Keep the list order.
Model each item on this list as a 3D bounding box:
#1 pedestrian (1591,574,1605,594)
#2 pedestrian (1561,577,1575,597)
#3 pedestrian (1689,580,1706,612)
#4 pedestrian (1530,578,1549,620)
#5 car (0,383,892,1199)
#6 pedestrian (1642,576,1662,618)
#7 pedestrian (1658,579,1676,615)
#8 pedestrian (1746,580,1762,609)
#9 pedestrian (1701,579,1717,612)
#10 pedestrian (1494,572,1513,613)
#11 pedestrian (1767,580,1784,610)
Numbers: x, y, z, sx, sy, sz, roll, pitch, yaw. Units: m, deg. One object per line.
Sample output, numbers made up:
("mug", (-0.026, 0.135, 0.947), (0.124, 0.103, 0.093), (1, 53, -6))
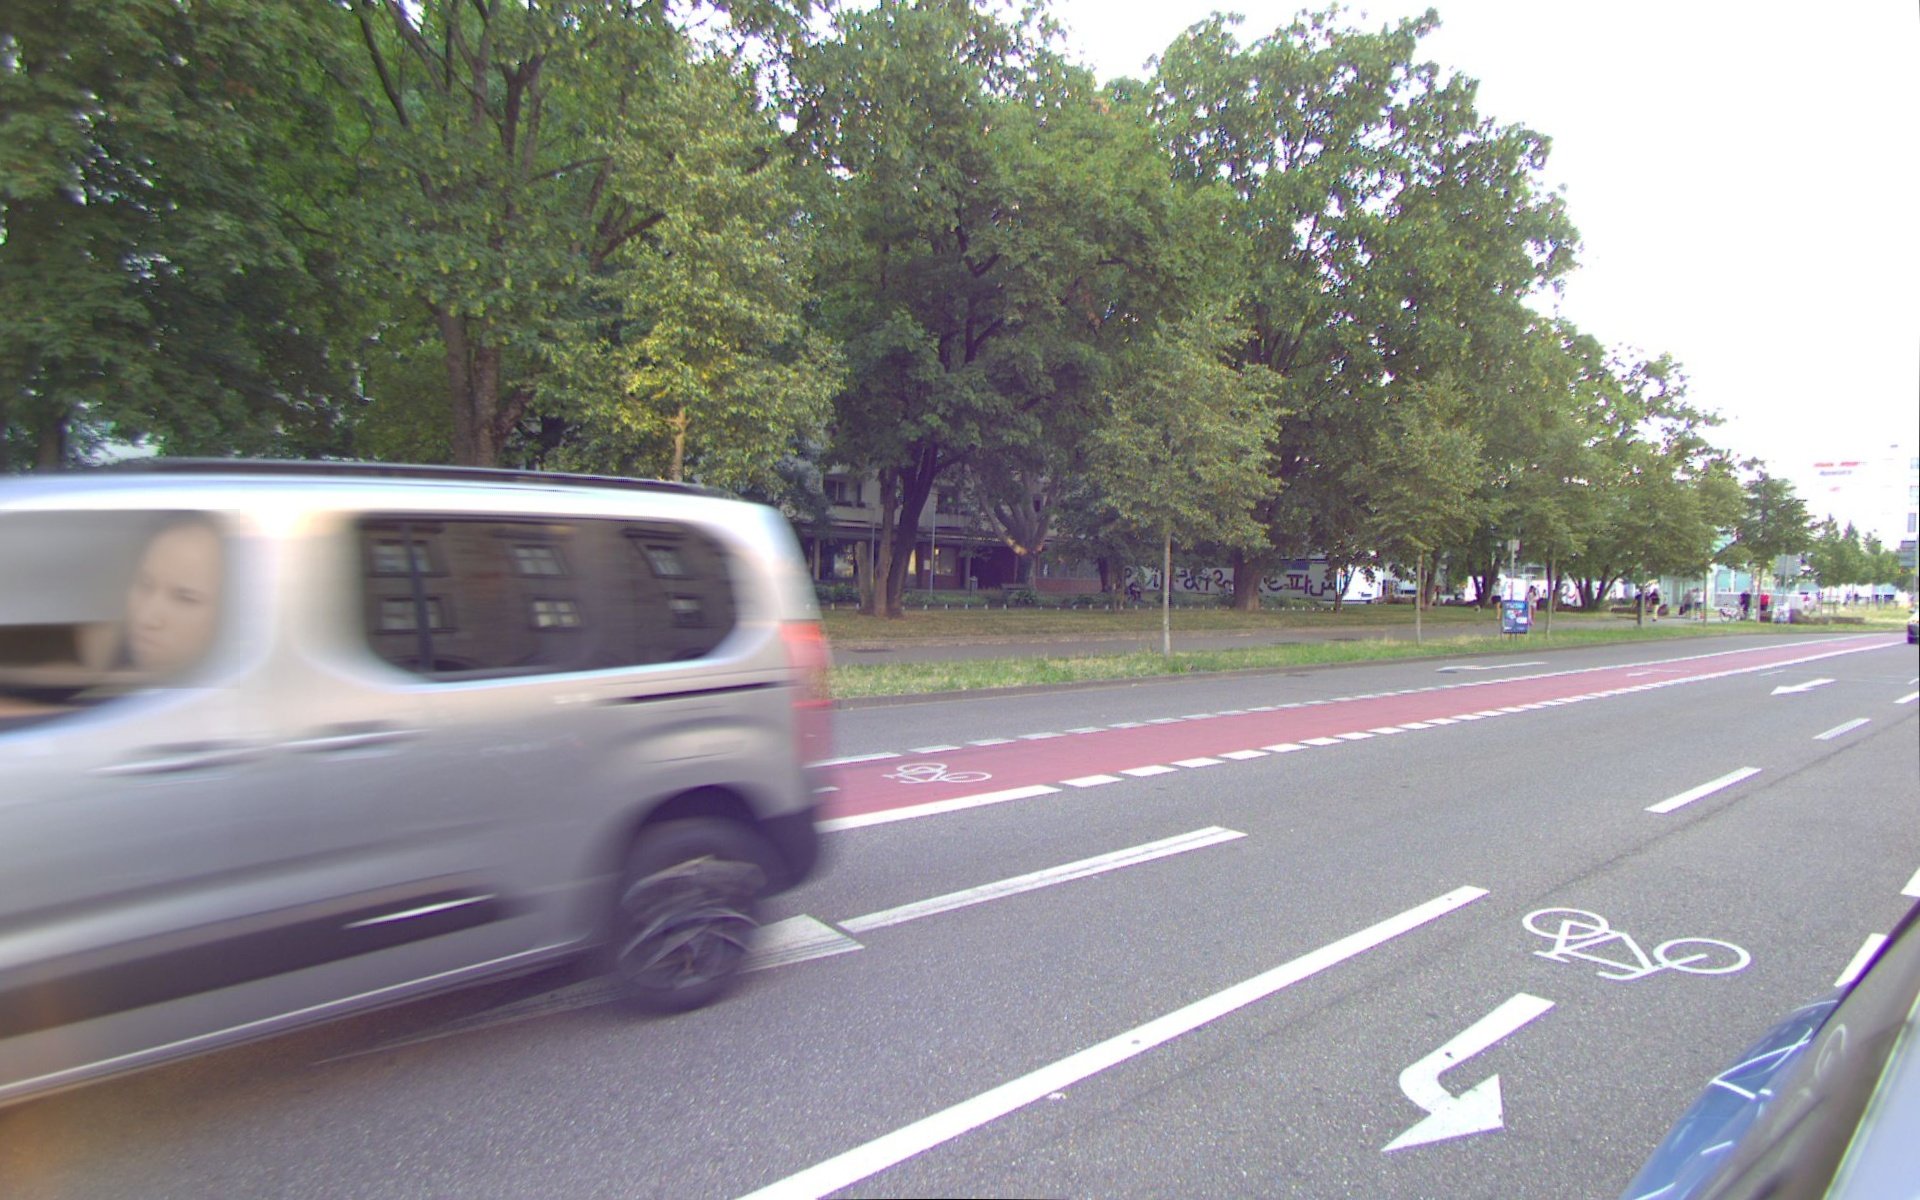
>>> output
("pedestrian", (44.770, -1.100, 70.993), (0.550, 1.371, 0.662), (0, 2, -40))
("pedestrian", (43.179, -0.914, 71.896), (0.669, 1.371, 0.631), (0, 2, -41))
("pedestrian", (40.124, -0.220, 55.052), (0.707, 1.751, 0.519), (0, 2, -40))
("pedestrian", (23.101, -0.042, 40.347), (0.359, 1.621, 0.500), (1, 2, -40))
("car", (-2.518, 0.444, 3.193), (4.420, 1.912, 1.766), (0, 1, -41))
("pedestrian", (29.867, -0.127, 43.678), (0.546, 1.760, 0.558), (0, 2, -41))
("pedestrian", (35.463, -0.162, 50.770), (0.707, 1.751, 0.508), (0, 2, -41))
("pedestrian", (49.429, -0.374, 62.994), (0.497, 1.779, 0.638), (0, 2, -40))
("pedestrian", (40.360, -0.227, 54.524), (0.707, 1.751, 0.508), (0, 2, -41))
("pedestrian", (21.884, -0.295, 40.756), (0.513, 1.621, 0.500), (0, 2, -41))
("pedestrian", (50.074, -0.318, 62.147), (0.497, 1.779, 0.638), (0, 2, -40))
